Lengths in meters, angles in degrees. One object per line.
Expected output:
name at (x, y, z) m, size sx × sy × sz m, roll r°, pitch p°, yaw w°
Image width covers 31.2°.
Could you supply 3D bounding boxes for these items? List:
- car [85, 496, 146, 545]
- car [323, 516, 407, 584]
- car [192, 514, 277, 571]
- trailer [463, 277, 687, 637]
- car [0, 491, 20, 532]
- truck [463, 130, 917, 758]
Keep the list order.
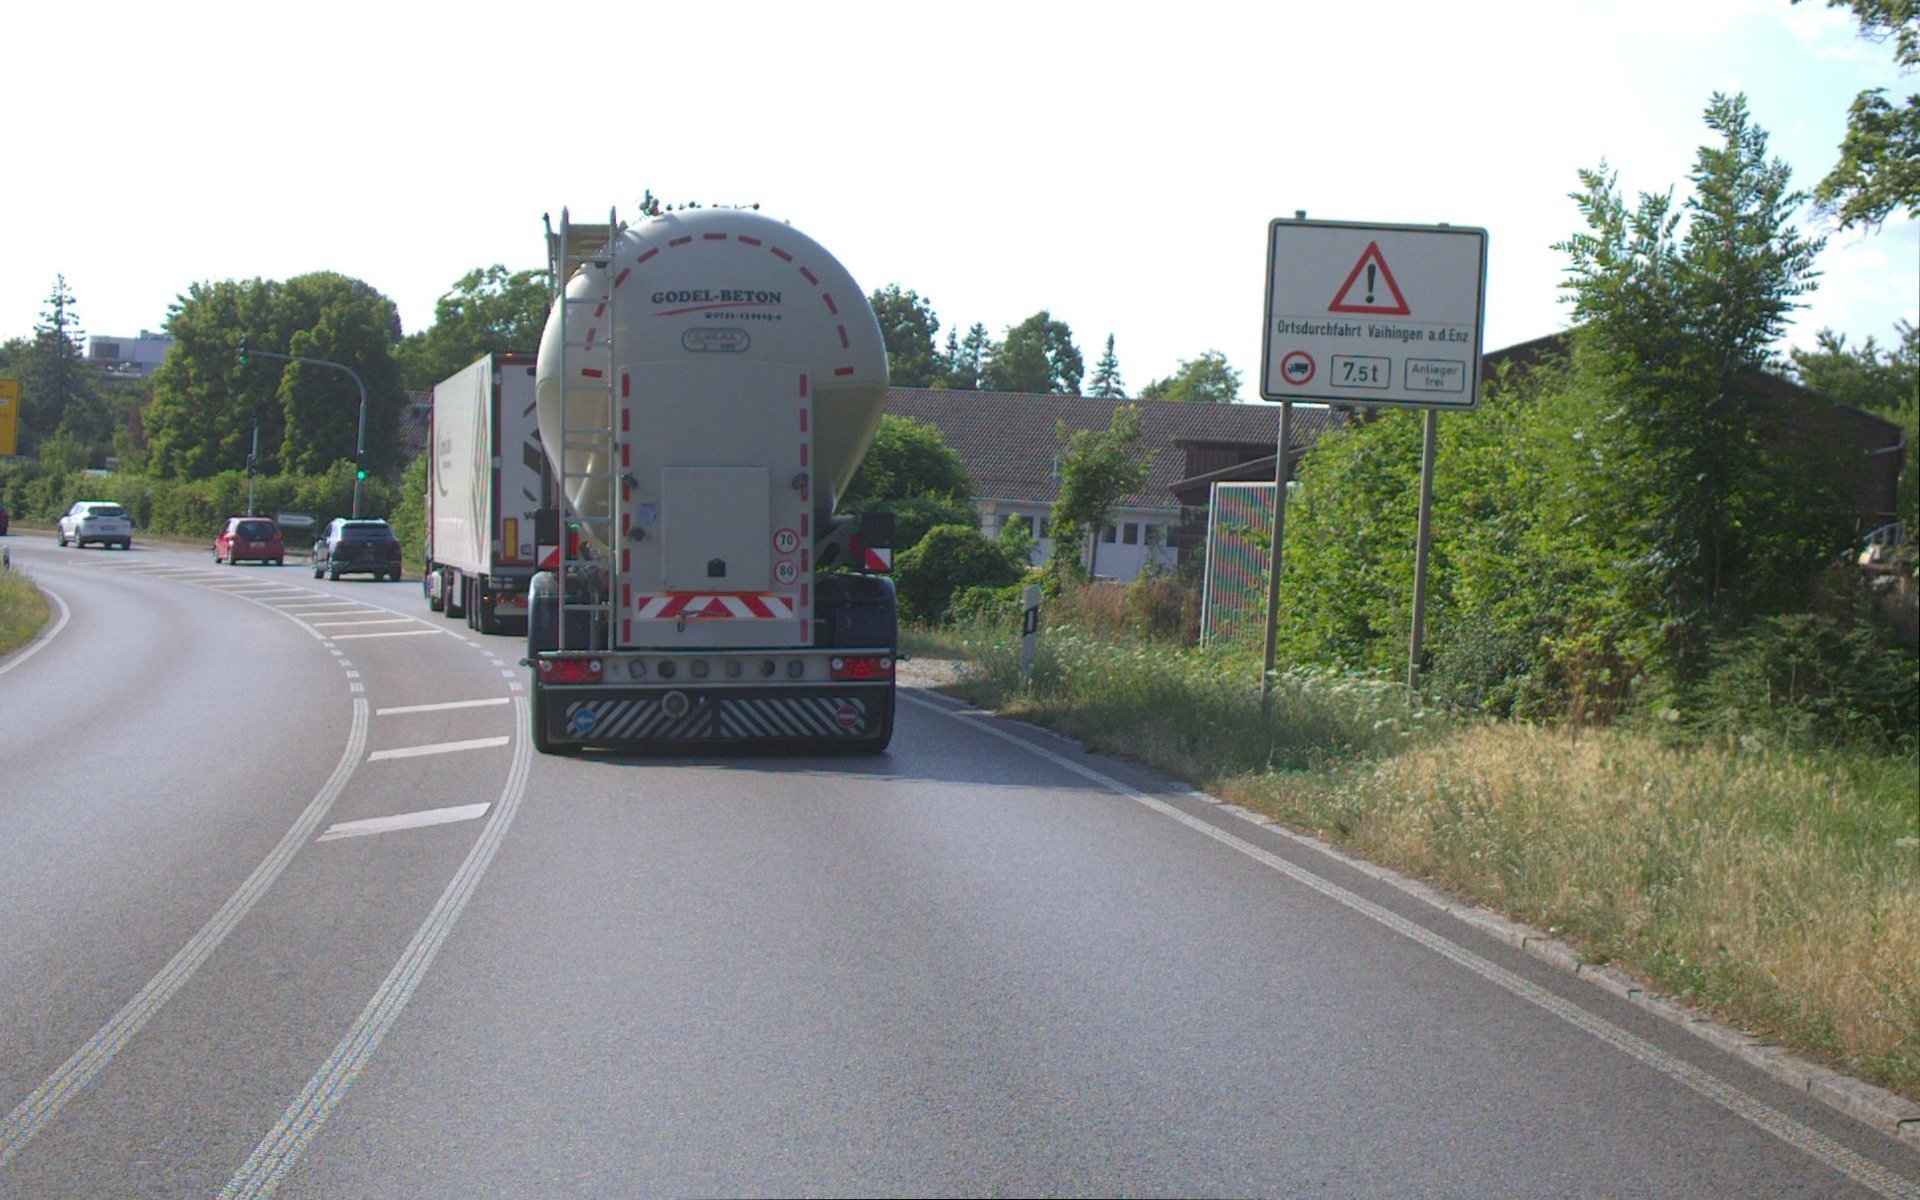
car at (-30.346, -2.837, 123.448) m, size 1.840 × 1.650 × 4.001 m, roll 1°, pitch 0°, yaw -18°
car at (-15.053, -1.254, 86.909) m, size 1.993 × 1.650 × 4.001 m, roll 1°, pitch 0°, yaw -11°
car at (-22.043, -1.734, 104.341) m, size 2.299 × 1.650 × 4.416 m, roll 1°, pitch 0°, yaw -15°
trailer at (-5.735, -1.994, 52.130) m, size 2.963 × 4.865 × 10.290 m, roll 1°, pitch 0°, yaw -5°
car at (-39.649, -3.625, 140.527) m, size 1.519 × 1.650 × 3.873 m, roll 1°, pitch 0°, yaw -27°
truck at (-2.482, -1.087, 28.933) m, size 2.975 × 4.161 × 11.665 m, roll 1°, pitch 0°, yaw -7°
